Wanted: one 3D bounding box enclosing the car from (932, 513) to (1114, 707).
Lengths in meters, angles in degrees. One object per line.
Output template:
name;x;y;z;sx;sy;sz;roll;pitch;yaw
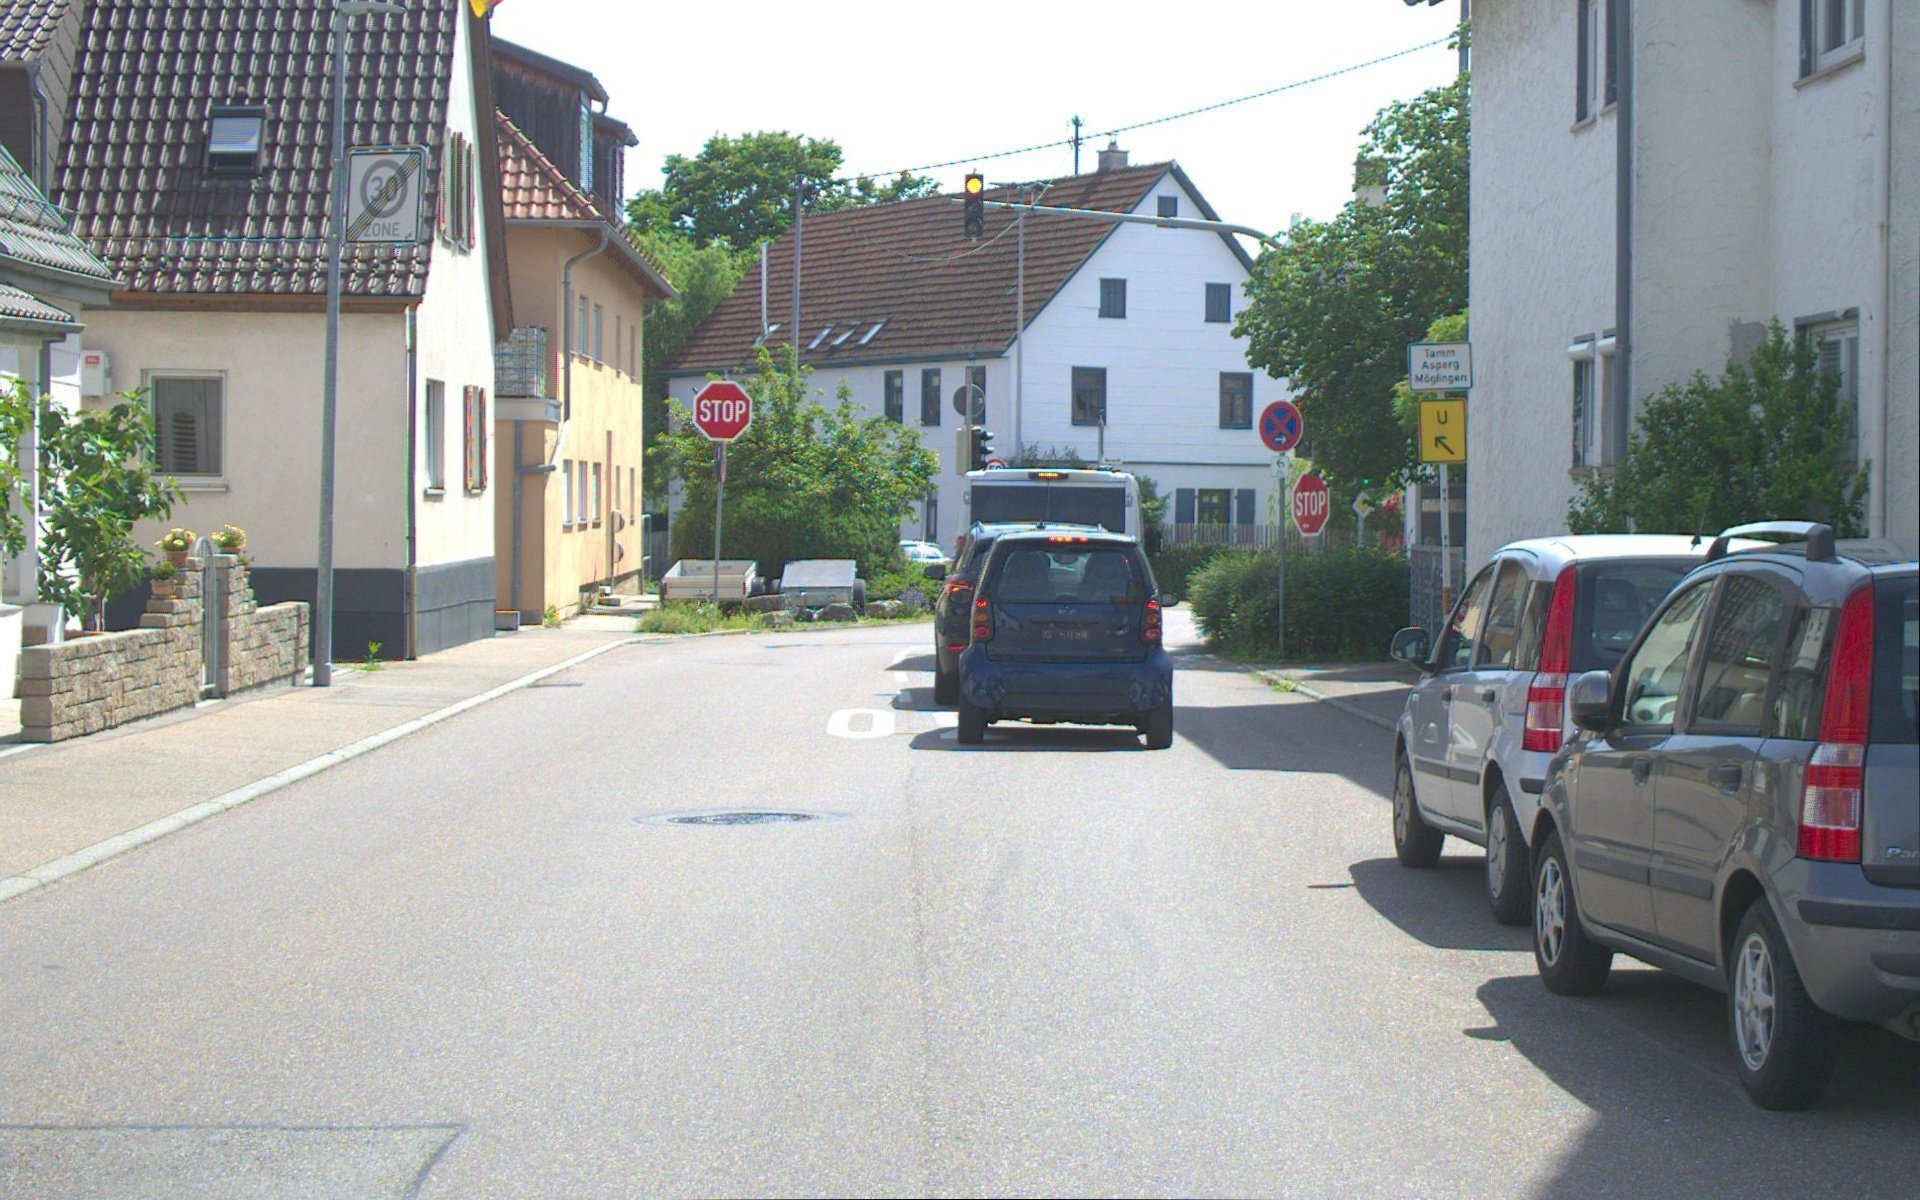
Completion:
car;0.598;0.050;30.509;1.516;1.619;3.184;1;1;2

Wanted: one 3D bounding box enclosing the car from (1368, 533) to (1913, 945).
car;2.754;0.492;14.579;1.498;1.508;3.362;1;1;-2

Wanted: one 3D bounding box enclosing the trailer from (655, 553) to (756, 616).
trailer;-4.086;-0.260;55.248;1.502;0.924;1.012;3;1;1

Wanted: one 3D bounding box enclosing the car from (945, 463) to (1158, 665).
car;1.119;-0.437;39.562;2.129;2.151;4.735;1;1;5

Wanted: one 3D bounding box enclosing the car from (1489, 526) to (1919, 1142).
car;2.754;0.565;10.369;1.567;1.540;3.450;1;1;-3

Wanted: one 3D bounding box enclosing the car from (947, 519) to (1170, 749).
car;0.755;0.201;25.637;1.516;1.561;3.184;2;1;2

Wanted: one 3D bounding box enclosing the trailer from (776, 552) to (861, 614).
trailer;-2.258;-0.282;55.102;1.311;0.967;0.933;1;1;1
